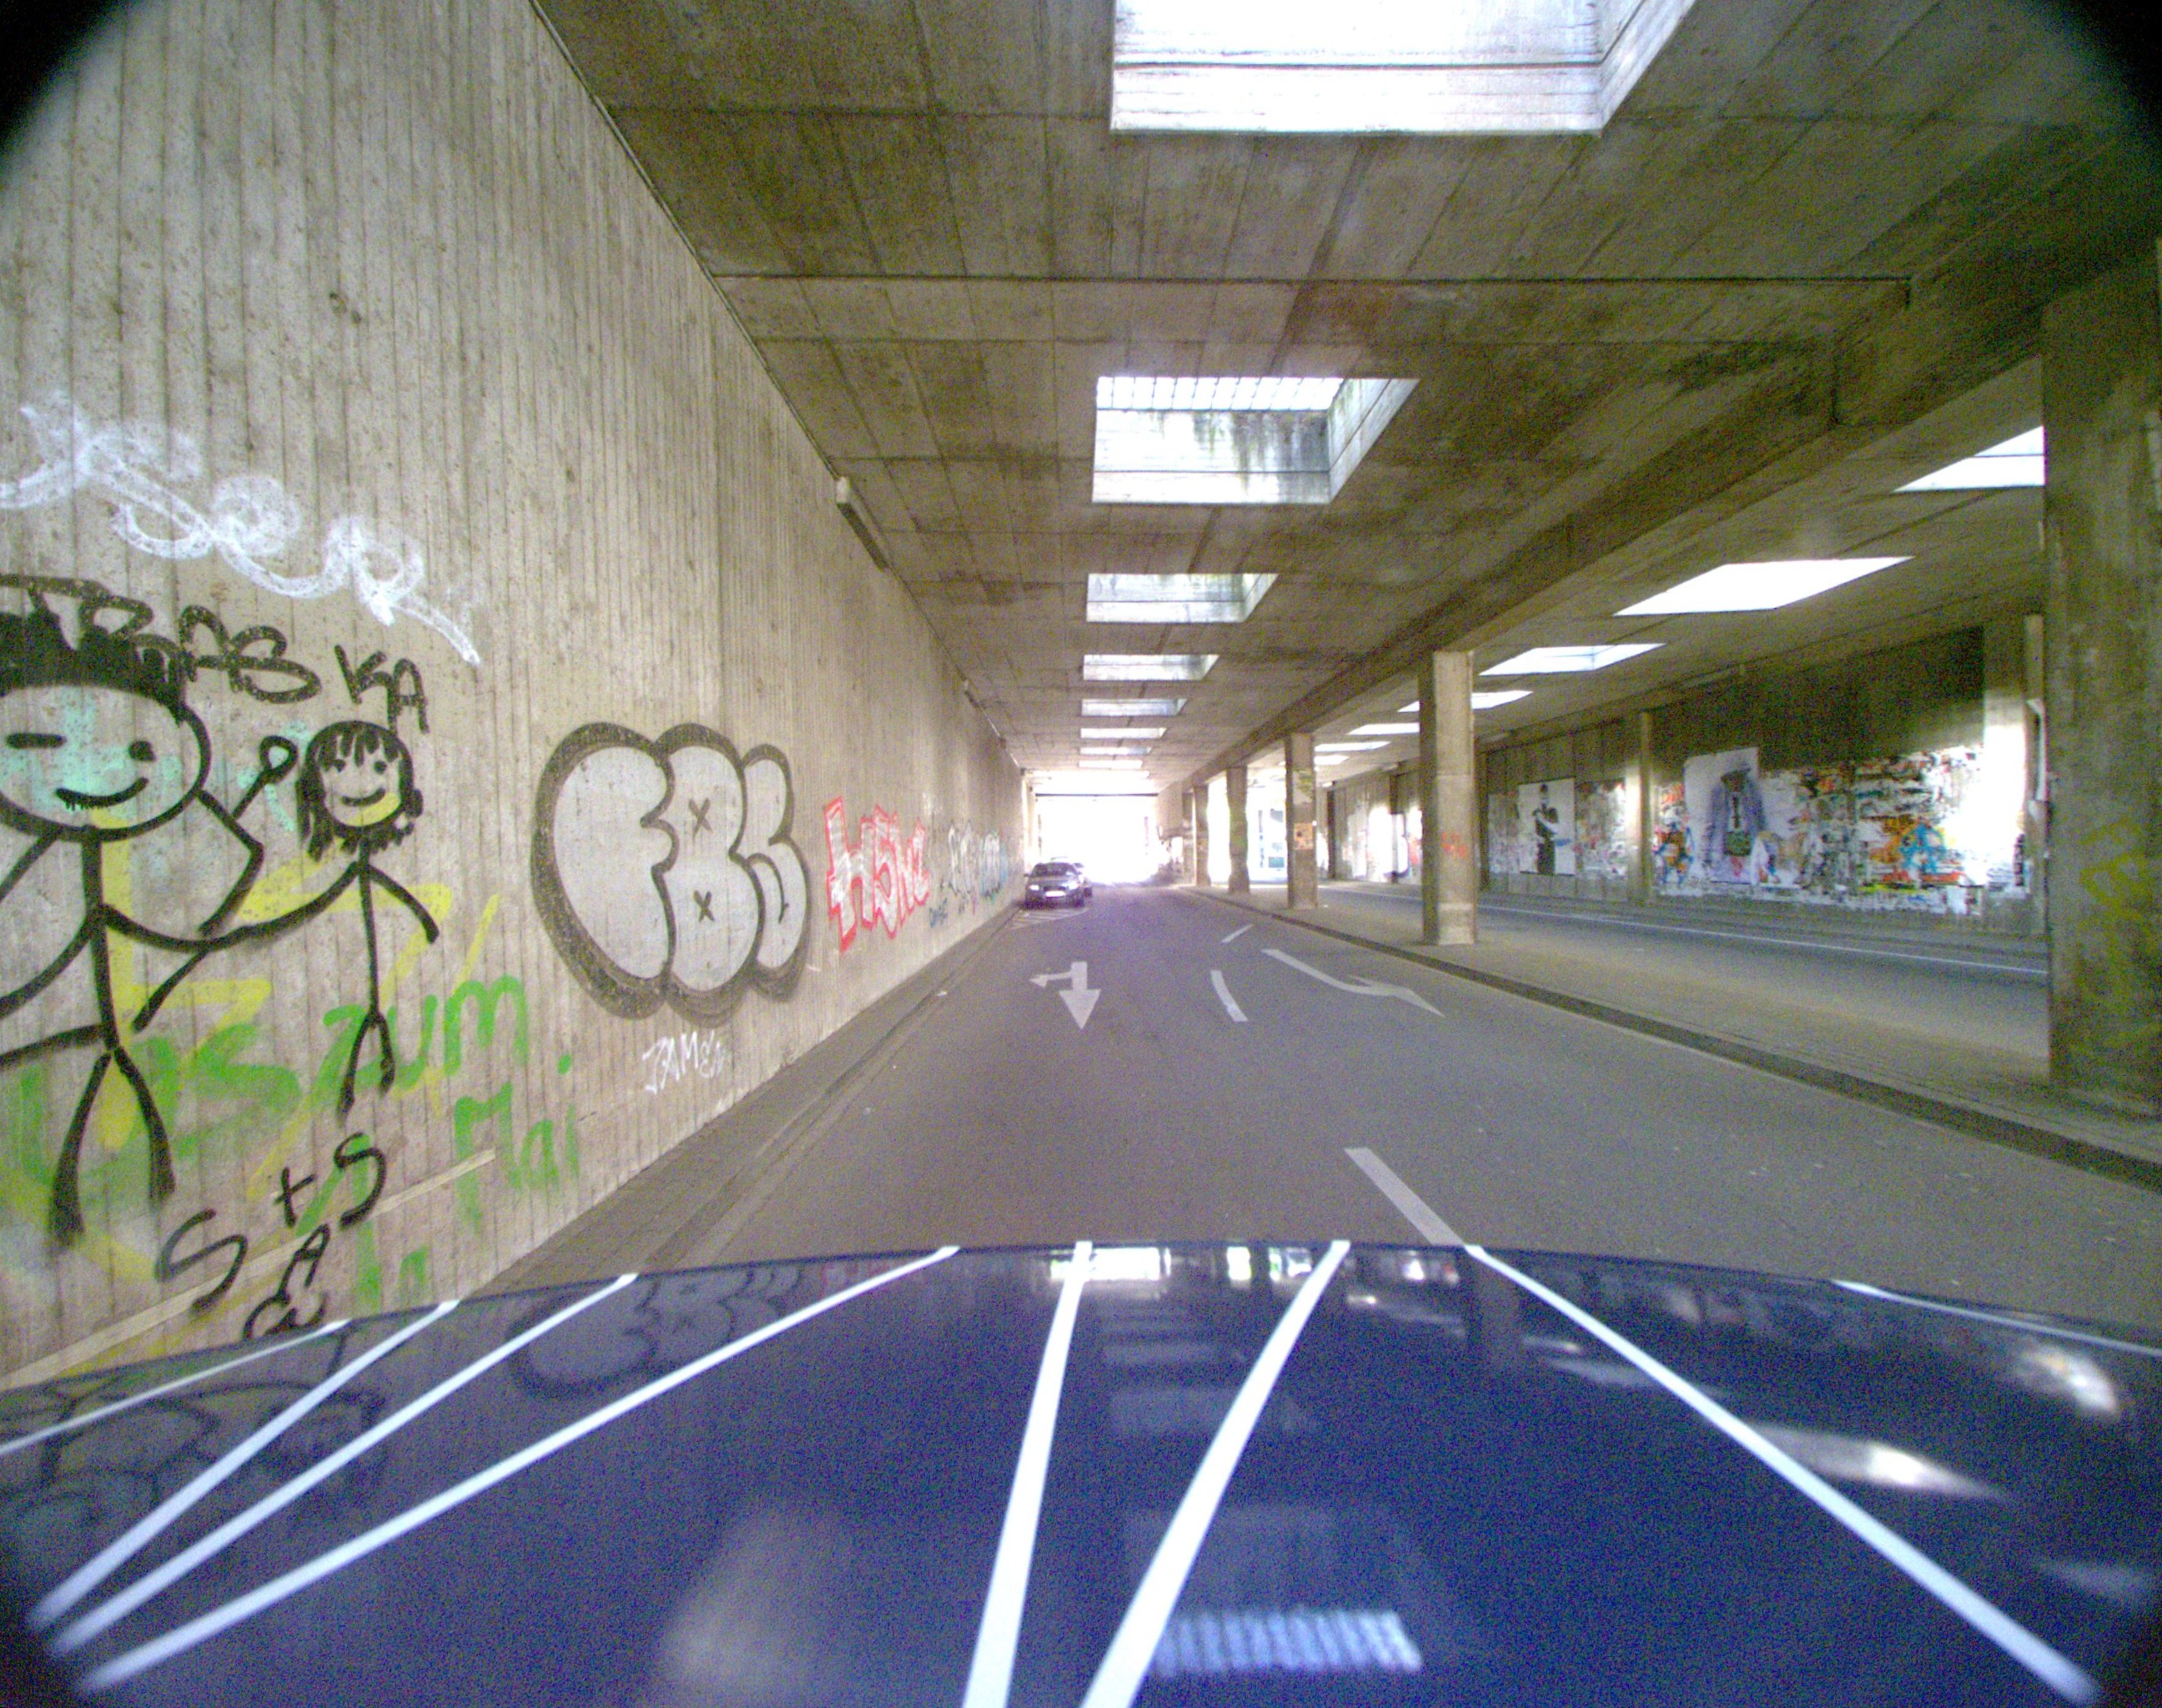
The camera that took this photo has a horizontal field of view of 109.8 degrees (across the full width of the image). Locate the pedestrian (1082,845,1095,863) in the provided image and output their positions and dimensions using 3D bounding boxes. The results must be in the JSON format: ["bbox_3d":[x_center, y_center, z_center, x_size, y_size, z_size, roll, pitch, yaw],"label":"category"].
[{"bbox_3d":[0.850,0.010,90.388,1.216,2.002,1.488,-2,1,-12],"label":"pedestrian"}]

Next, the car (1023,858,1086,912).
[{"bbox_3d":[-0.753,0.913,23.967,1.767,1.407,3.999,-2,1,1],"label":"car"}]

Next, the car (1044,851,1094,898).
[{"bbox_3d":[-0.502,0.754,29.795,1.767,1.634,3.999,-2,1,-2],"label":"car"}]
